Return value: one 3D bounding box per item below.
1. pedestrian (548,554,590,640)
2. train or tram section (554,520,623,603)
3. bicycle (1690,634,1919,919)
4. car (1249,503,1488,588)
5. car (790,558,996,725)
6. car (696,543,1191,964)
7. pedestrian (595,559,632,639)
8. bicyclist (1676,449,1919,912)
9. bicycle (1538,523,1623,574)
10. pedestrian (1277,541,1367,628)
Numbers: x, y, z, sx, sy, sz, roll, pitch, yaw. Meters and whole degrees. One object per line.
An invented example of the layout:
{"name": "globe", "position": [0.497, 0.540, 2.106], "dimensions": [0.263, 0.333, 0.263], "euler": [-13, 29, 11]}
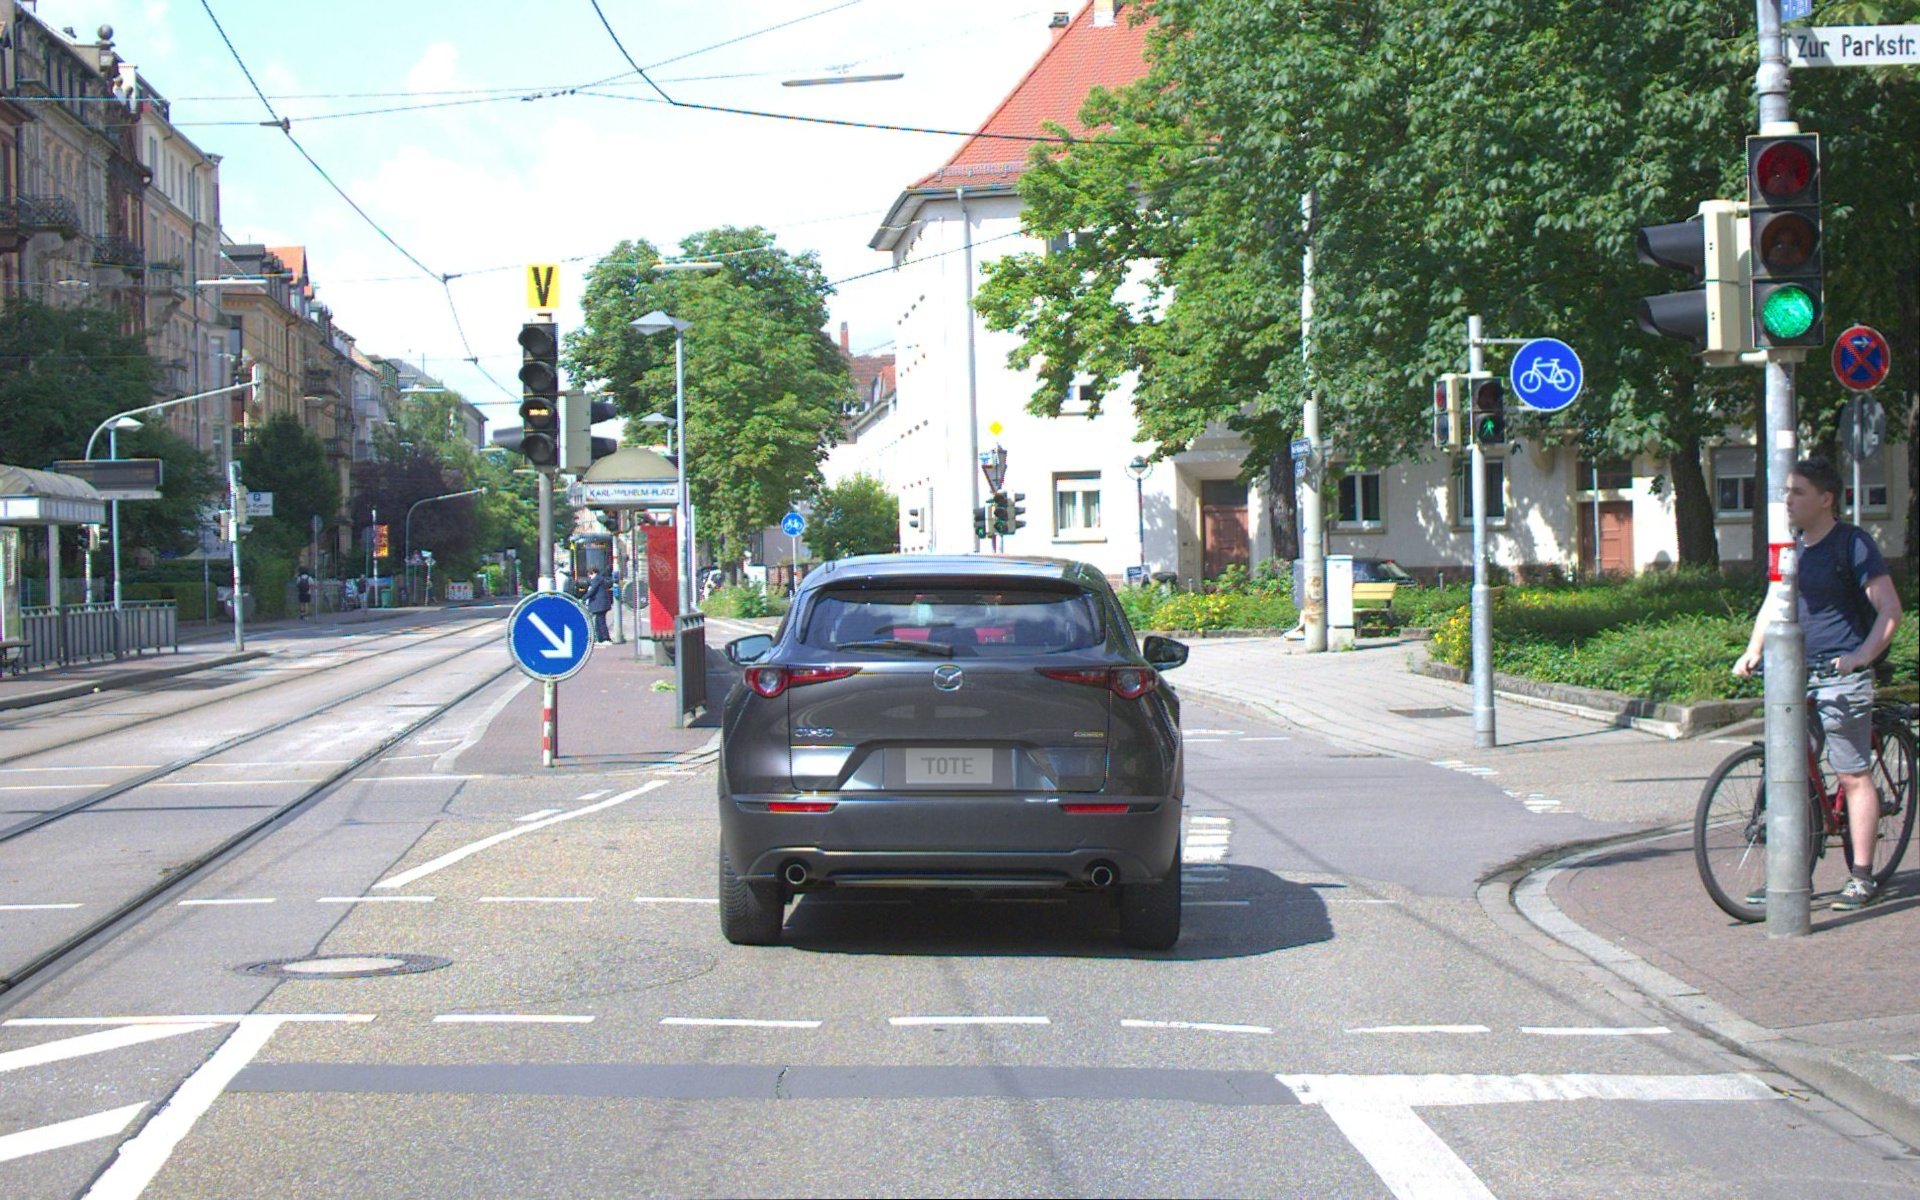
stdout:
{"name": "pedestrian", "position": [-7.663, -0.065, 67.390], "dimensions": [0.770, 1.669, 0.668], "euler": [-1, 1, -5]}
{"name": "train or tram section", "position": [-19.114, -1.897, 177.506], "dimensions": [2.997, 3.970, 13.810], "euler": [-1, 0, -4]}
{"name": "bicycle", "position": [3.638, 0.694, 14.164], "dimensions": [0.389, 1.032, 1.841], "euler": [-1, 1, 40]}
{"name": "car", "position": [7.840, -1.043, 66.132], "dimensions": [4.167, 1.504, 1.848], "euler": [-1, 2, 38]}
{"name": "car", "position": [-0.687, 0.347, 32.290], "dimensions": [1.775, 1.459, 3.843], "euler": [0, 1, -3]}
{"name": "car", "position": [-0.081, 0.552, 14.535], "dimensions": [1.782, 1.509, 4.000], "euler": [1, 0, -1]}
{"name": "pedestrian", "position": [-6.710, -0.023, 66.583], "dimensions": [0.667, 1.540, 0.581], "euler": [-1, 1, -5]}
{"name": "bicyclist", "position": [3.489, 0.309, 14.003], "dimensions": [0.733, 1.813, 0.820], "euler": [-2, 1, -27]}
{"name": "bicycle", "position": [13.067, -1.073, 72.439], "dimensions": [0.565, 1.016, 1.752], "euler": [-4, 2, -42]}
{"name": "pedestrian", "position": [5.575, -0.237, 52.967], "dimensions": [1.192, 1.265, 0.558], "euler": [-3, 1, -9]}
